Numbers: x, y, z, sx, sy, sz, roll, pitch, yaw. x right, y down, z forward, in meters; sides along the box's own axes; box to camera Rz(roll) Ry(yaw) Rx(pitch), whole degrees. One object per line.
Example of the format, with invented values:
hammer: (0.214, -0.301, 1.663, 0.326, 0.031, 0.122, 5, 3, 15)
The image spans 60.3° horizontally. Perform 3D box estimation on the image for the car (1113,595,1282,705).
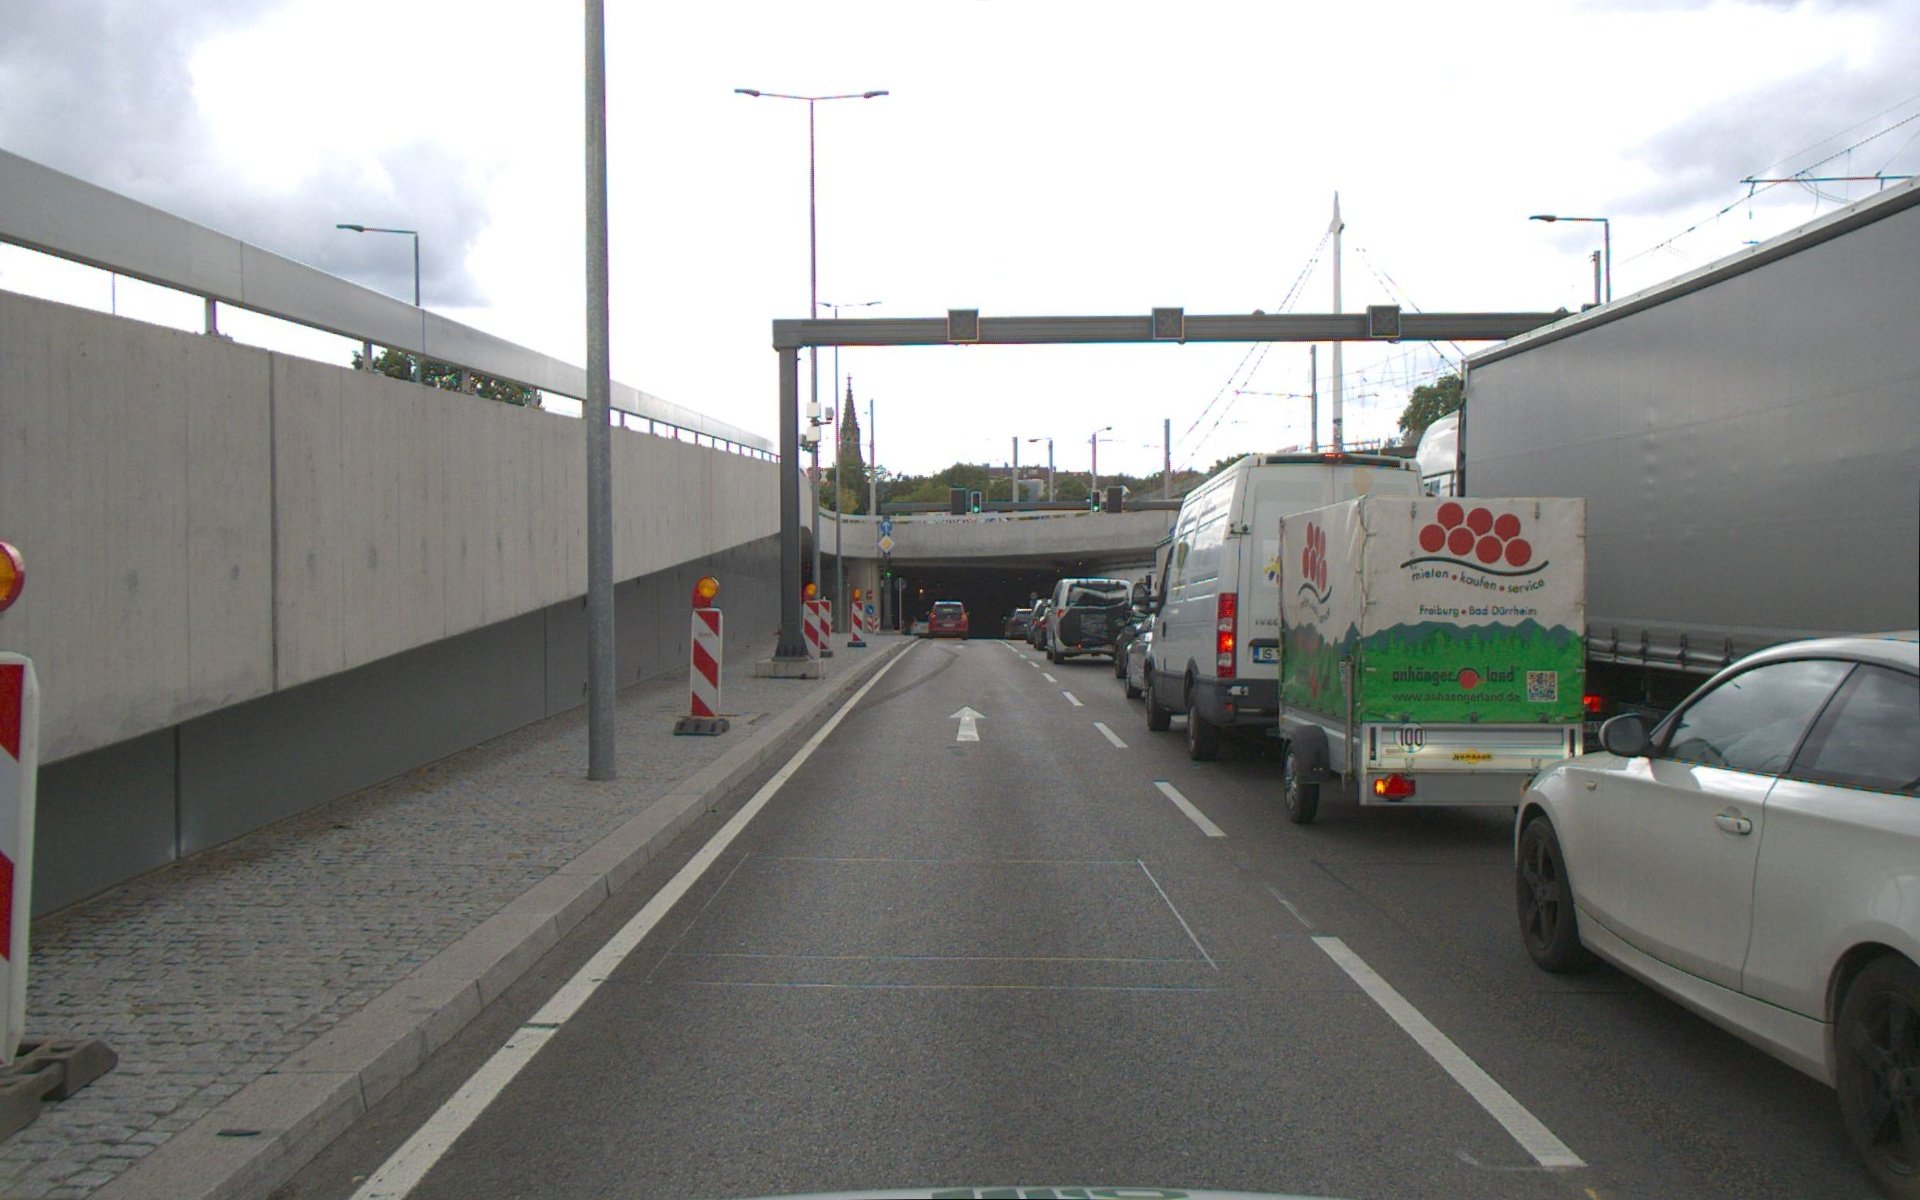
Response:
car: (3.255, 0.660, 23.363, 1.728, 1.407, 4.037, 0, 0, -1)

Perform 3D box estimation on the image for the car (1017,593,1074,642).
car: (3.067, 0.632, 59.804, 1.782, 1.608, 4.000, 3, 0, 0)

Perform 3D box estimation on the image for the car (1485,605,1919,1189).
car: (3.245, 0.761, 5.464, 1.681, 1.422, 4.348, 2, 0, 1)

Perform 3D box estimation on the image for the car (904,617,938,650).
car: (-2.532, 2.161, 107.532, 1.955, 2.049, 3.996, 0, 0, -5)

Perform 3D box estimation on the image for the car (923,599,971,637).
car: (-0.564, 0.778, 68.512, 1.628, 1.514, 3.561, 0, -1, -7)

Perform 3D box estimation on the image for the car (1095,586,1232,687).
car: (3.461, 0.578, 28.723, 1.649, 1.571, 3.690, 2, 1, -4)

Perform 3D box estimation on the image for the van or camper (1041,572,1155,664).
van or camper: (3.025, 0.368, 37.381, 1.953, 1.877, 5.506, 1, 0, -1)

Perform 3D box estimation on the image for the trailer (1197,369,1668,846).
trailer: (3.132, 0.059, 12.161, 2.060, 2.685, 4.810, 3, 0, 1)

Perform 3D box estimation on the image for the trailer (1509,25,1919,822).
trailer: (7.504, -1.021, 10.711, 3.727, 4.712, 12.113, 1, 0, 0)

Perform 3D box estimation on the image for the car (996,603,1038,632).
car: (2.549, 0.796, 74.619, 1.630, 1.269, 3.565, 0, -1, -2)

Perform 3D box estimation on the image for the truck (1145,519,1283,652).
truck: (6.663, -0.331, 44.374, 2.595, 3.241, 7.426, 0, 0, 1)

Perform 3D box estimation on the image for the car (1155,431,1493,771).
car: (3.218, 0.023, 16.000, 2.015, 2.674, 5.942, 0, 0, 1)

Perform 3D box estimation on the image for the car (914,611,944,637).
car: (-2.293, 1.721, 121.416, 1.955, 1.804, 3.996, 0, 0, -5)

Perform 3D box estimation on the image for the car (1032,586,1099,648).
car: (3.097, 0.473, 49.327, 1.781, 1.713, 4.001, 1, 1, 1)

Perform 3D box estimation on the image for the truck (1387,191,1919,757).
truck: (7.451, -1.066, 17.680, 3.727, 4.712, 7.441, 1, 0, 0)
